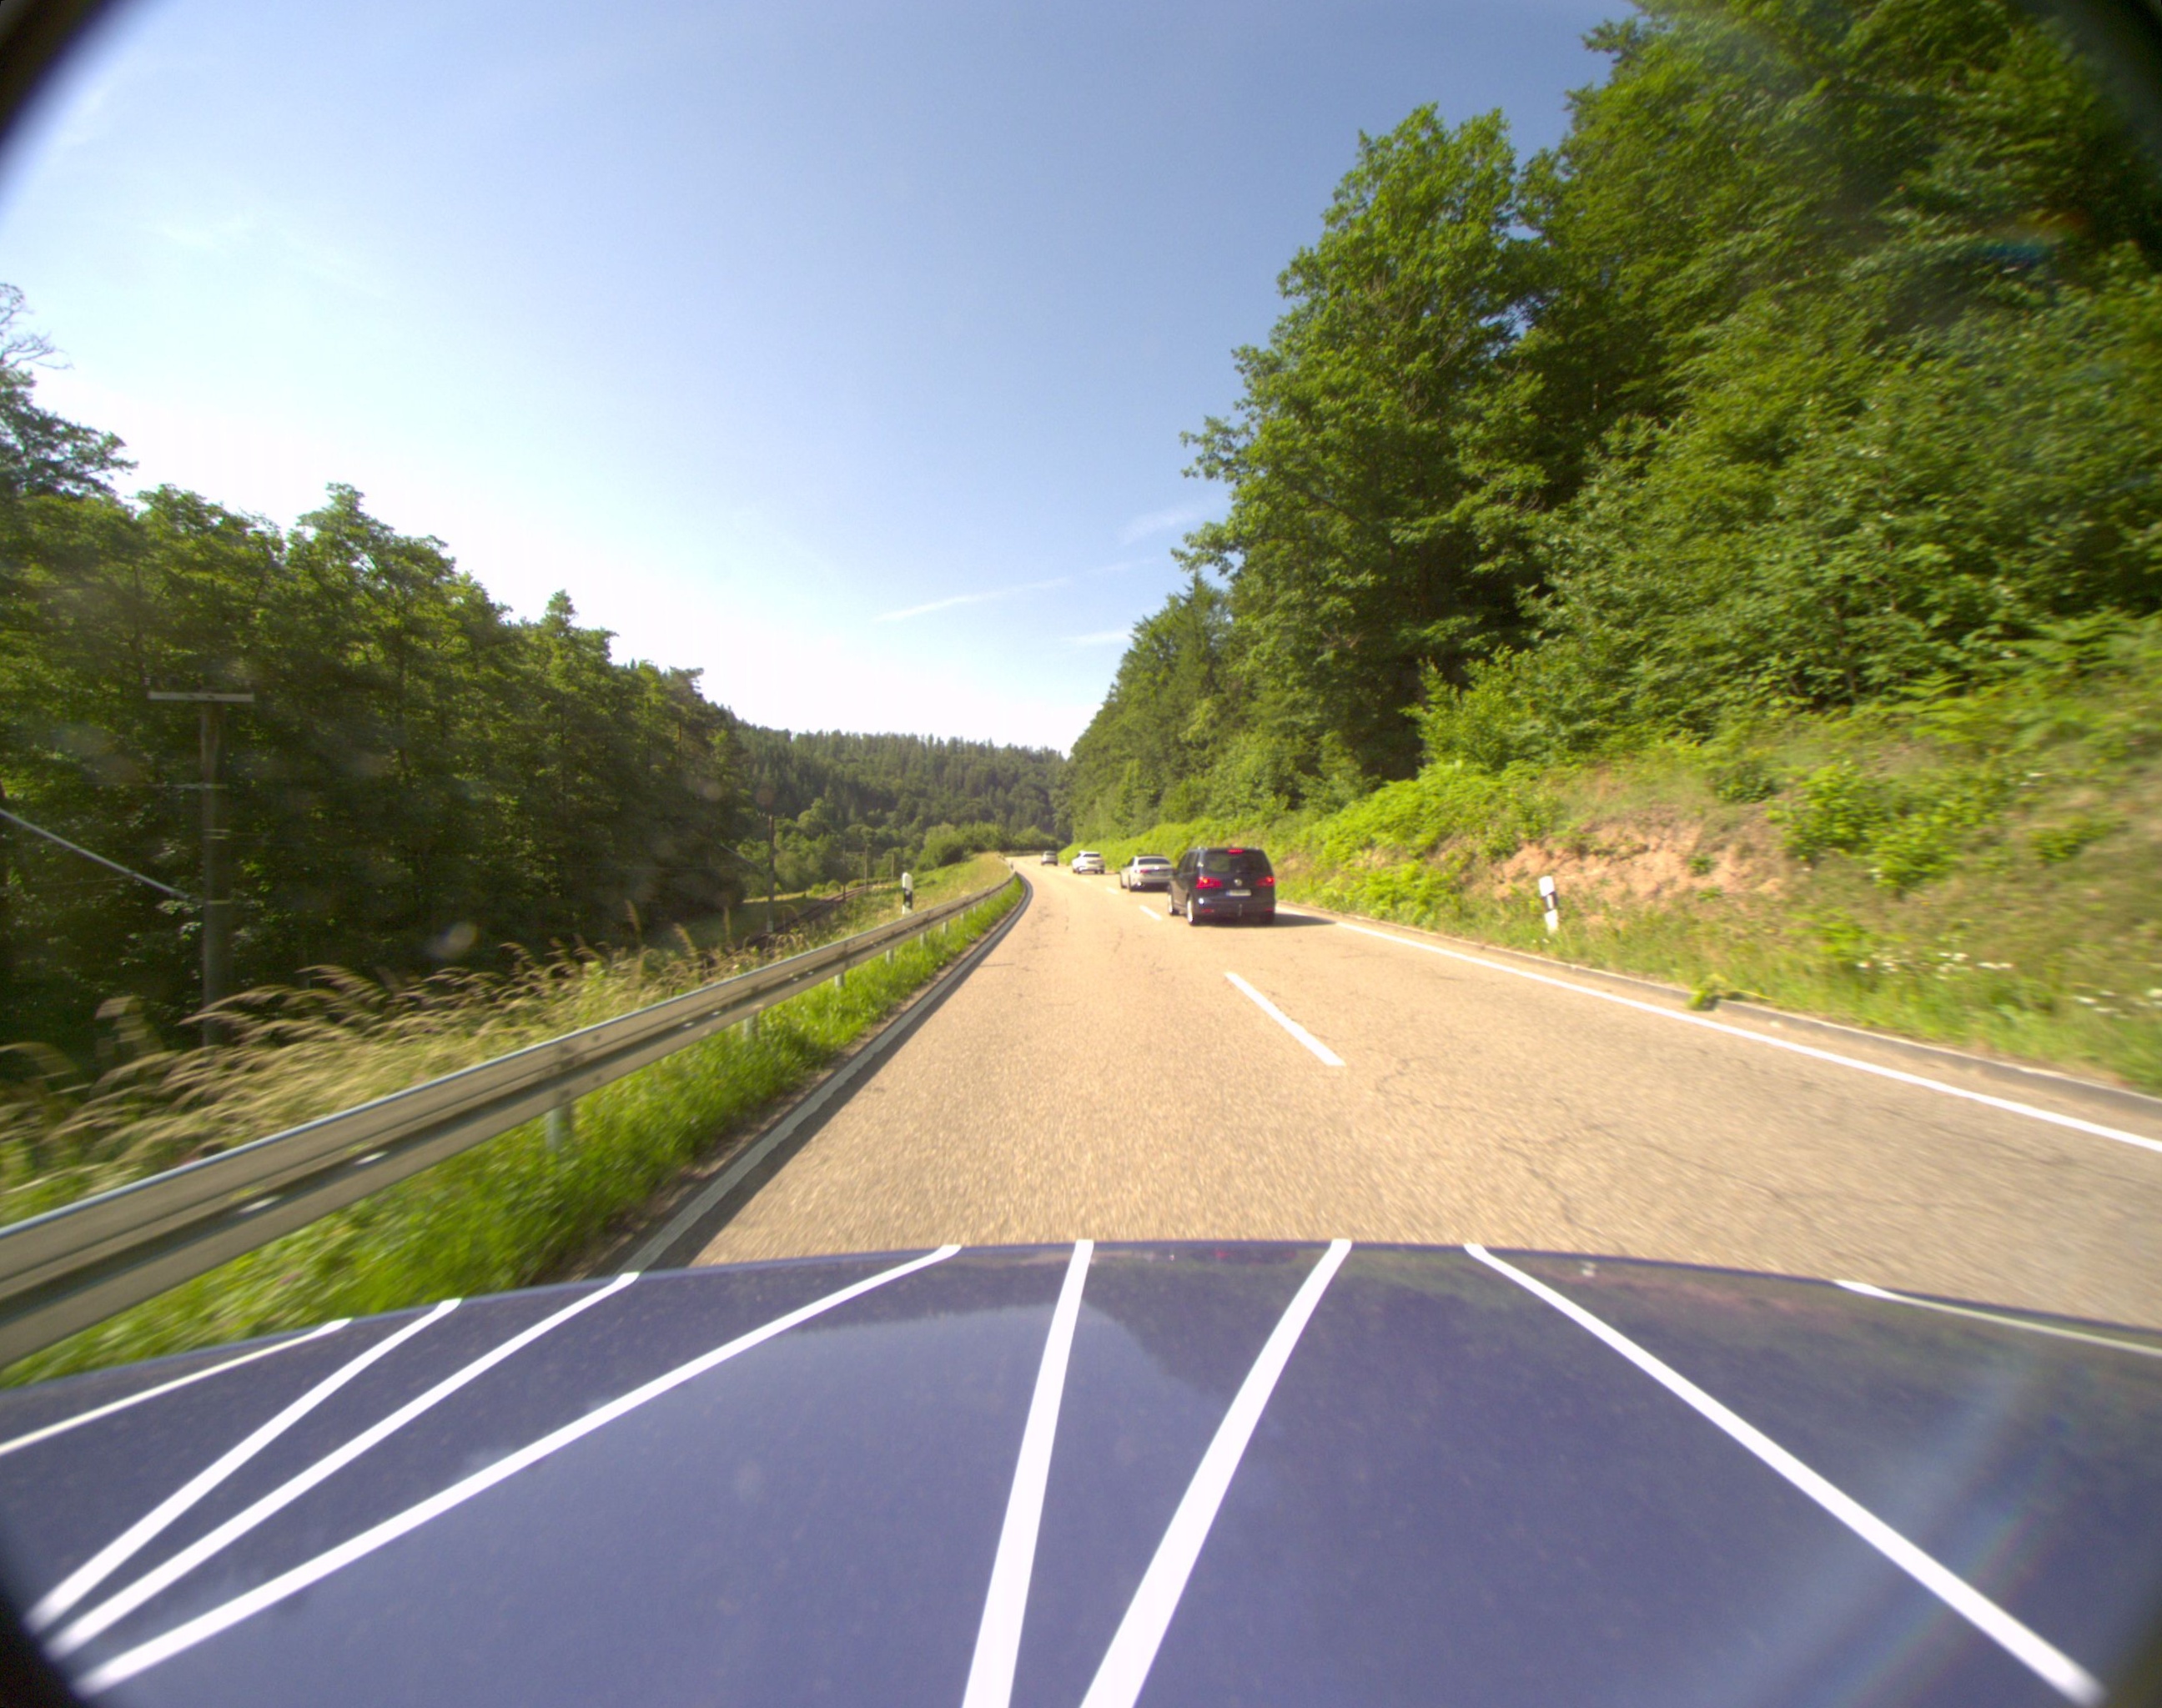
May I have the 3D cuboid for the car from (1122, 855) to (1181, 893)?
[{"bbox_3d":[2.798,0.771,31.195,1.838,1.422,4.677,-1,0,-2],"label":"car"}]

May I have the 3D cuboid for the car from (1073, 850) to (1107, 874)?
[{"bbox_3d":[0.620,0.562,56.781,1.999,1.672,4.904,-1,0,-5],"label":"car"}]

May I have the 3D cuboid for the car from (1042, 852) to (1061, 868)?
[{"bbox_3d":[-3.411,0.685,88.172,1.873,1.614,4.472,-4,0,-5],"label":"car"}]

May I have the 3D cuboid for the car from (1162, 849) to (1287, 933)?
[{"bbox_3d":[3.028,0.730,16.954,1.837,1.619,4.351,0,0,-2],"label":"car"}]
